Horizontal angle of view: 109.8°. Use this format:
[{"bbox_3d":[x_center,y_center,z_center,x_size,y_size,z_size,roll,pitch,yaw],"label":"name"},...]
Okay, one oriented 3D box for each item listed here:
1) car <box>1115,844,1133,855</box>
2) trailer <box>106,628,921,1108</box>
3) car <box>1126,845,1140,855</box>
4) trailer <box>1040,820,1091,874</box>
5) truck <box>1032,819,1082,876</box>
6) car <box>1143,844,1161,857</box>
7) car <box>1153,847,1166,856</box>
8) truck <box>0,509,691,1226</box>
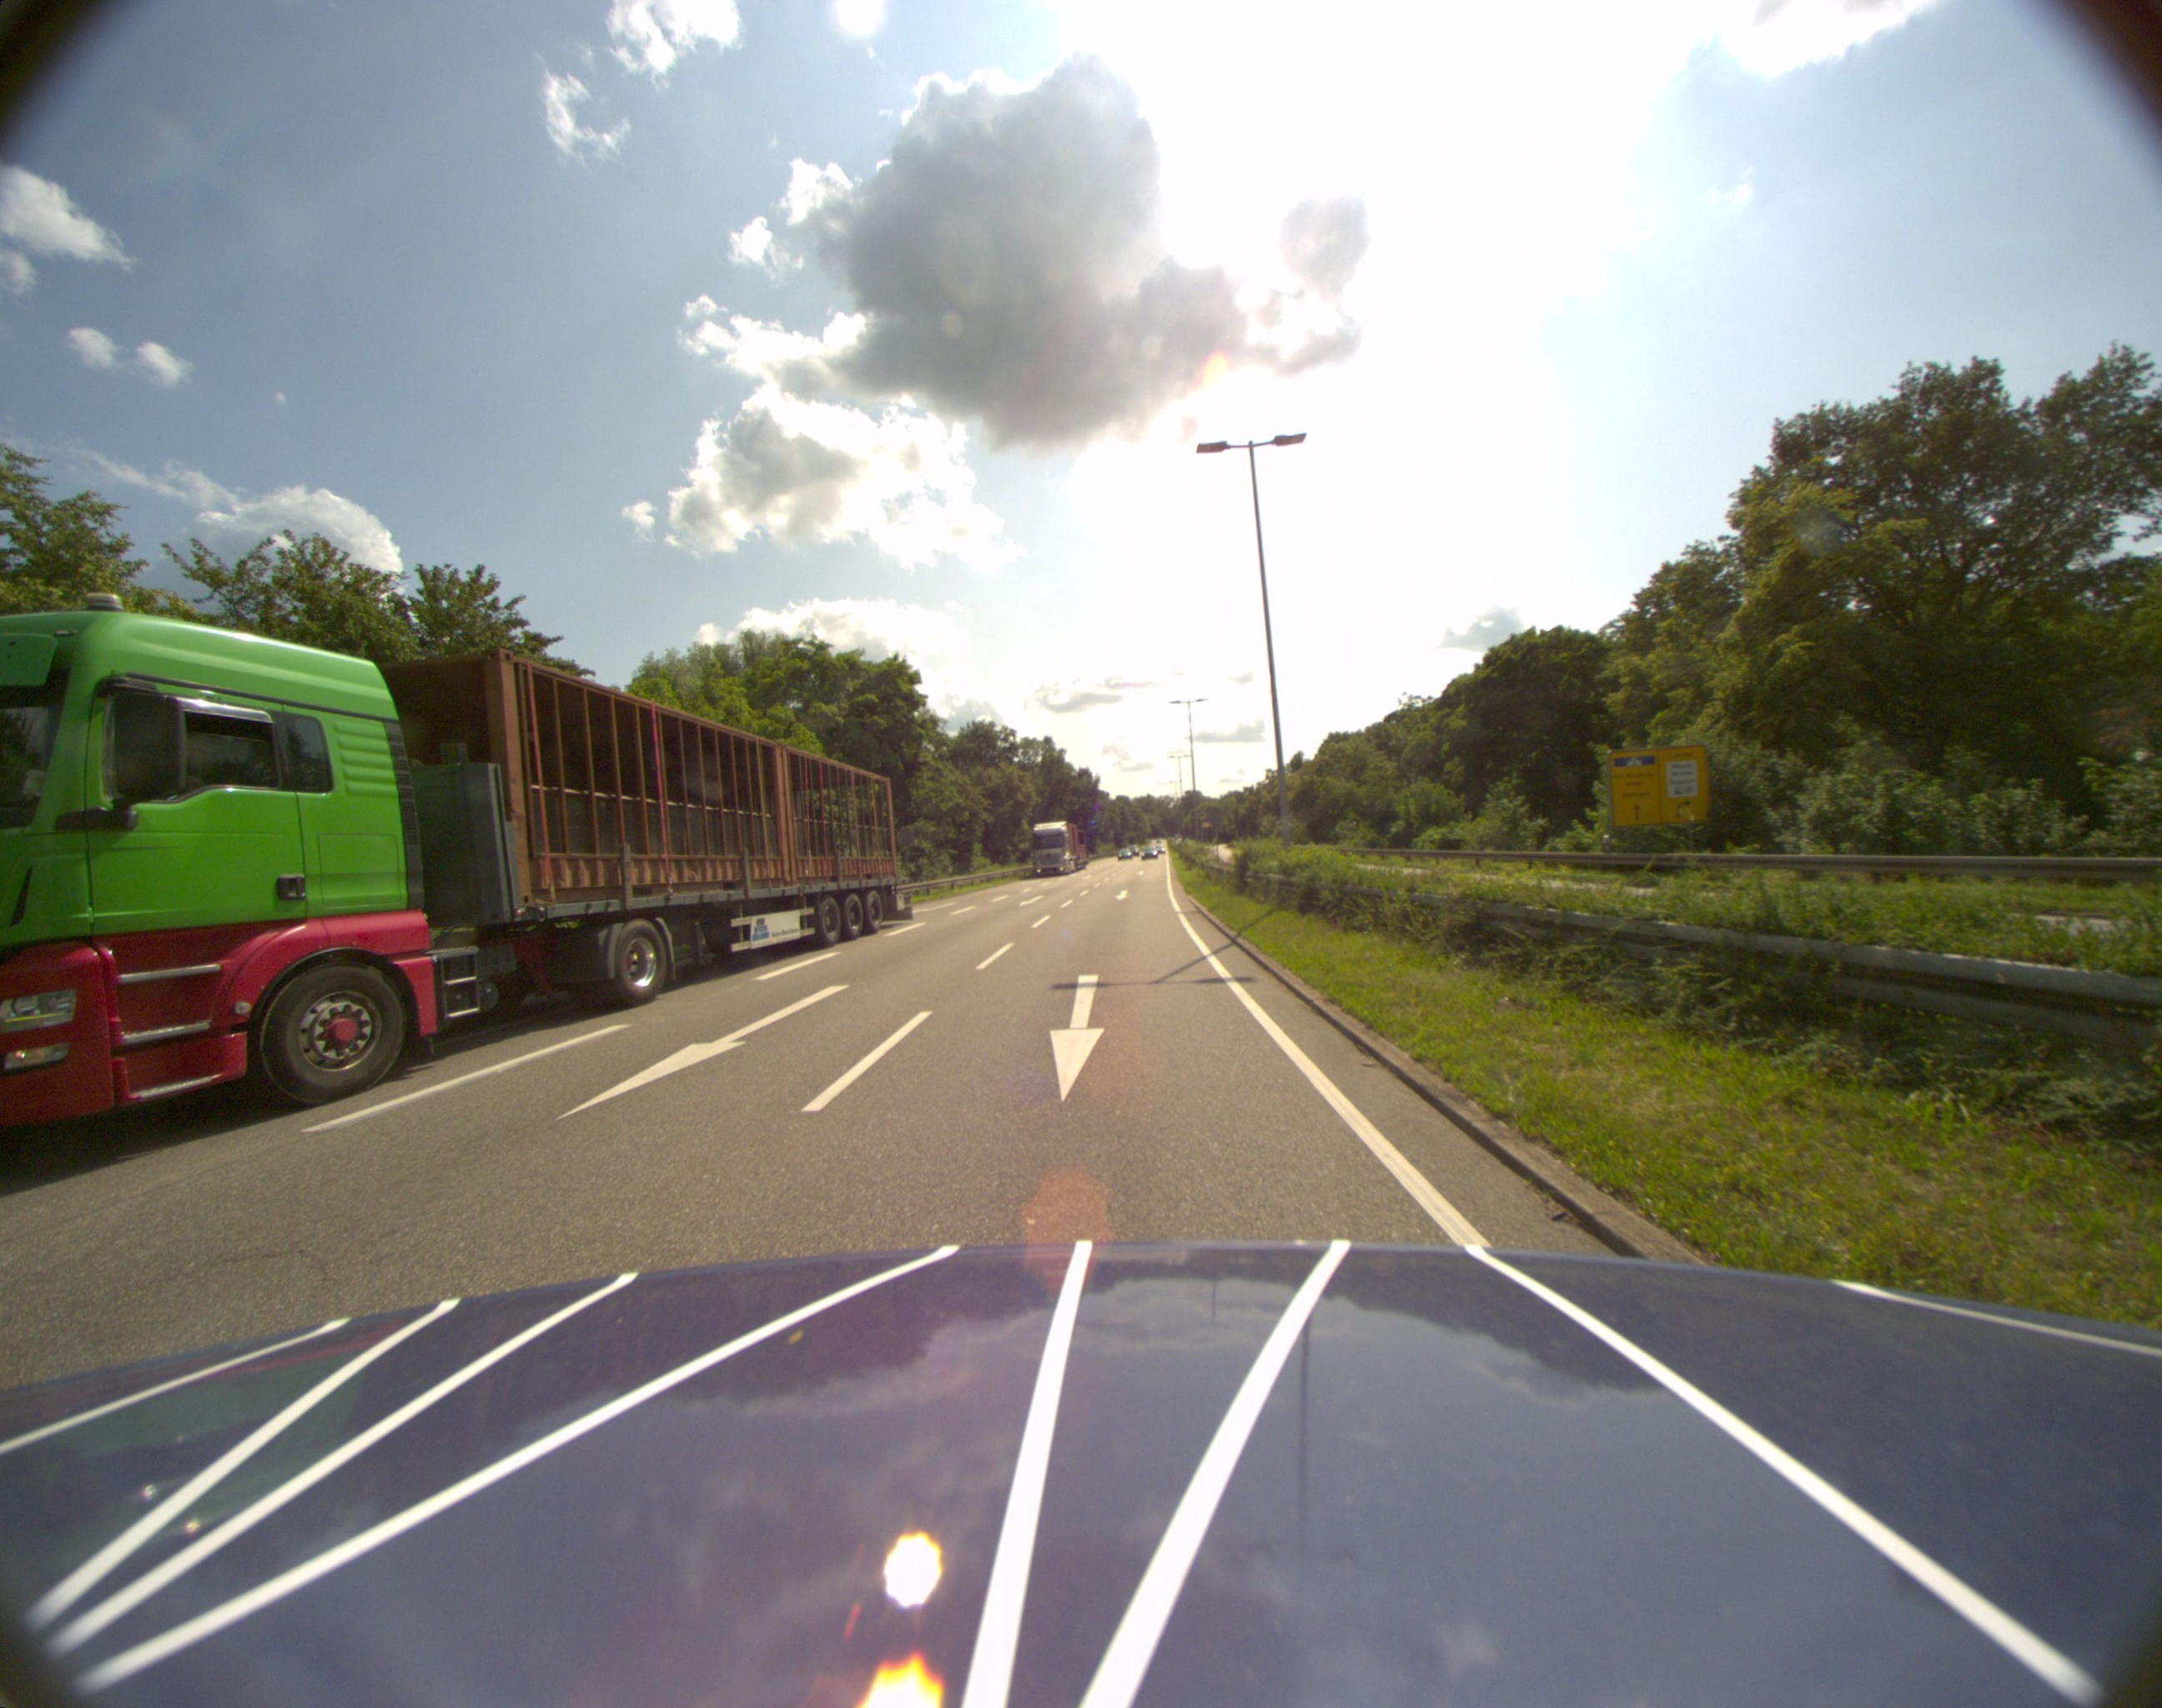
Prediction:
[{"bbox_3d":[5.524,-0.545,97.280,1.997,1.330,4.002,-3,0,8],"label":"car"},{"bbox_3d":[-6.371,0.122,13.664,2.590,3.871,14.505,-5,0,4],"label":"trailer"},{"bbox_3d":[7.898,-0.620,114.981,1.998,1.330,4.001,-3,0,5],"label":"car"},{"bbox_3d":[-1.107,-0.580,65.672,2.694,3.948,12.396,-5,0,6],"label":"trailer"},{"bbox_3d":[-1.737,-0.518,58.969,2.690,3.948,7.386,-5,0,6],"label":"truck"},{"bbox_3d":[7.980,-0.360,85.551,1.796,1.368,4.002,-3,0,7],"label":"car"},{"bbox_3d":[12.245,-0.432,118.314,1.796,1.368,4.002,-3,0,7],"label":"car"},{"bbox_3d":[-6.841,0.134,7.123,2.590,3.871,6.063,-5,0,4],"label":"truck"}]
